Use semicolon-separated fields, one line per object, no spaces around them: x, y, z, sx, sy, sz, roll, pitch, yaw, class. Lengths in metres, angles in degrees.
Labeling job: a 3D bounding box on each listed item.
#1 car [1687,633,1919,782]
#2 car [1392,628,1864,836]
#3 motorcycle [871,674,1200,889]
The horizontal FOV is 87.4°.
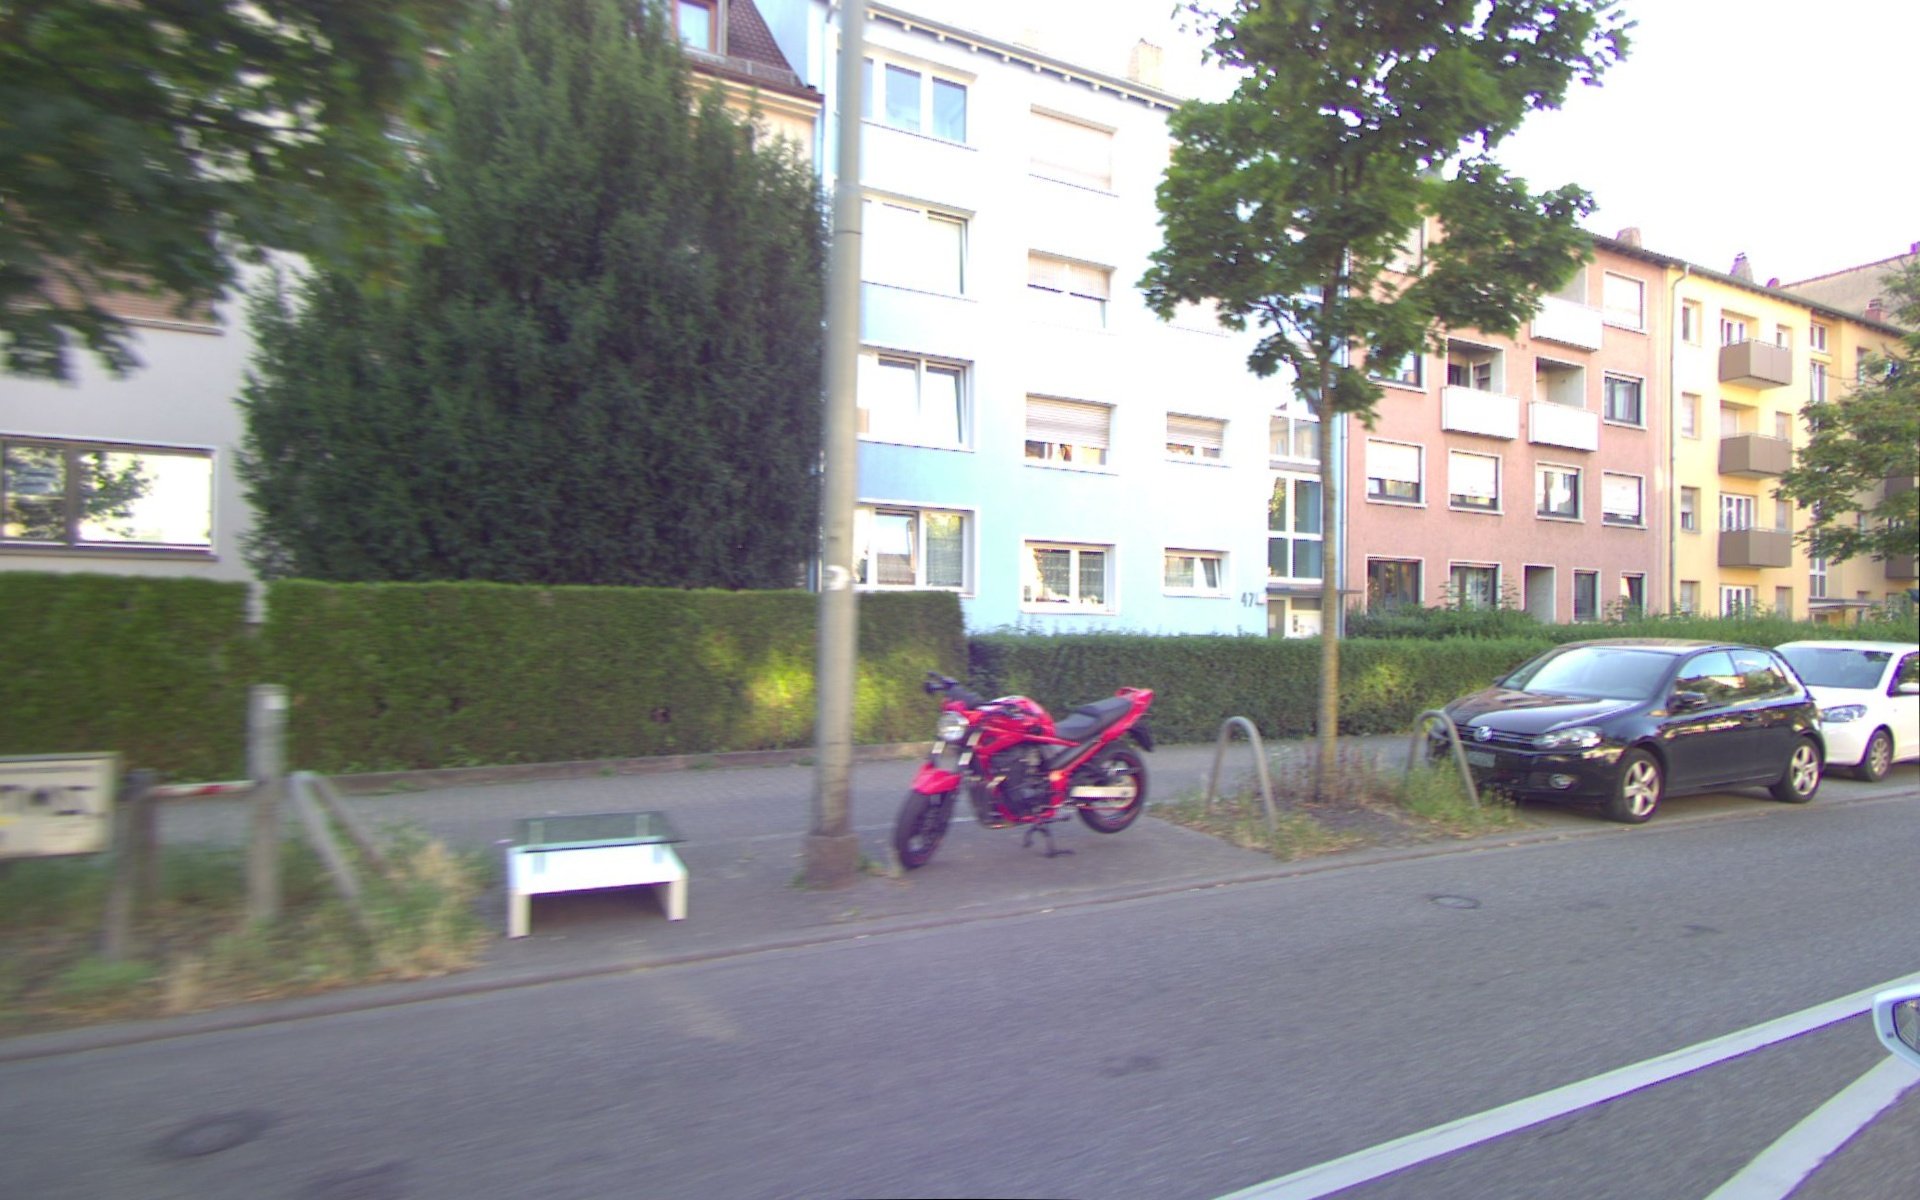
10.596;1.205;12.062;3.596;1.512;1.585;2;-1;-28;car
6.351;1.083;9.506;4.259;1.538;1.831;1;0;-26;car
0.537;1.106;6.594;2.147;1.151;0.635;1;1;-30;motorcycle
